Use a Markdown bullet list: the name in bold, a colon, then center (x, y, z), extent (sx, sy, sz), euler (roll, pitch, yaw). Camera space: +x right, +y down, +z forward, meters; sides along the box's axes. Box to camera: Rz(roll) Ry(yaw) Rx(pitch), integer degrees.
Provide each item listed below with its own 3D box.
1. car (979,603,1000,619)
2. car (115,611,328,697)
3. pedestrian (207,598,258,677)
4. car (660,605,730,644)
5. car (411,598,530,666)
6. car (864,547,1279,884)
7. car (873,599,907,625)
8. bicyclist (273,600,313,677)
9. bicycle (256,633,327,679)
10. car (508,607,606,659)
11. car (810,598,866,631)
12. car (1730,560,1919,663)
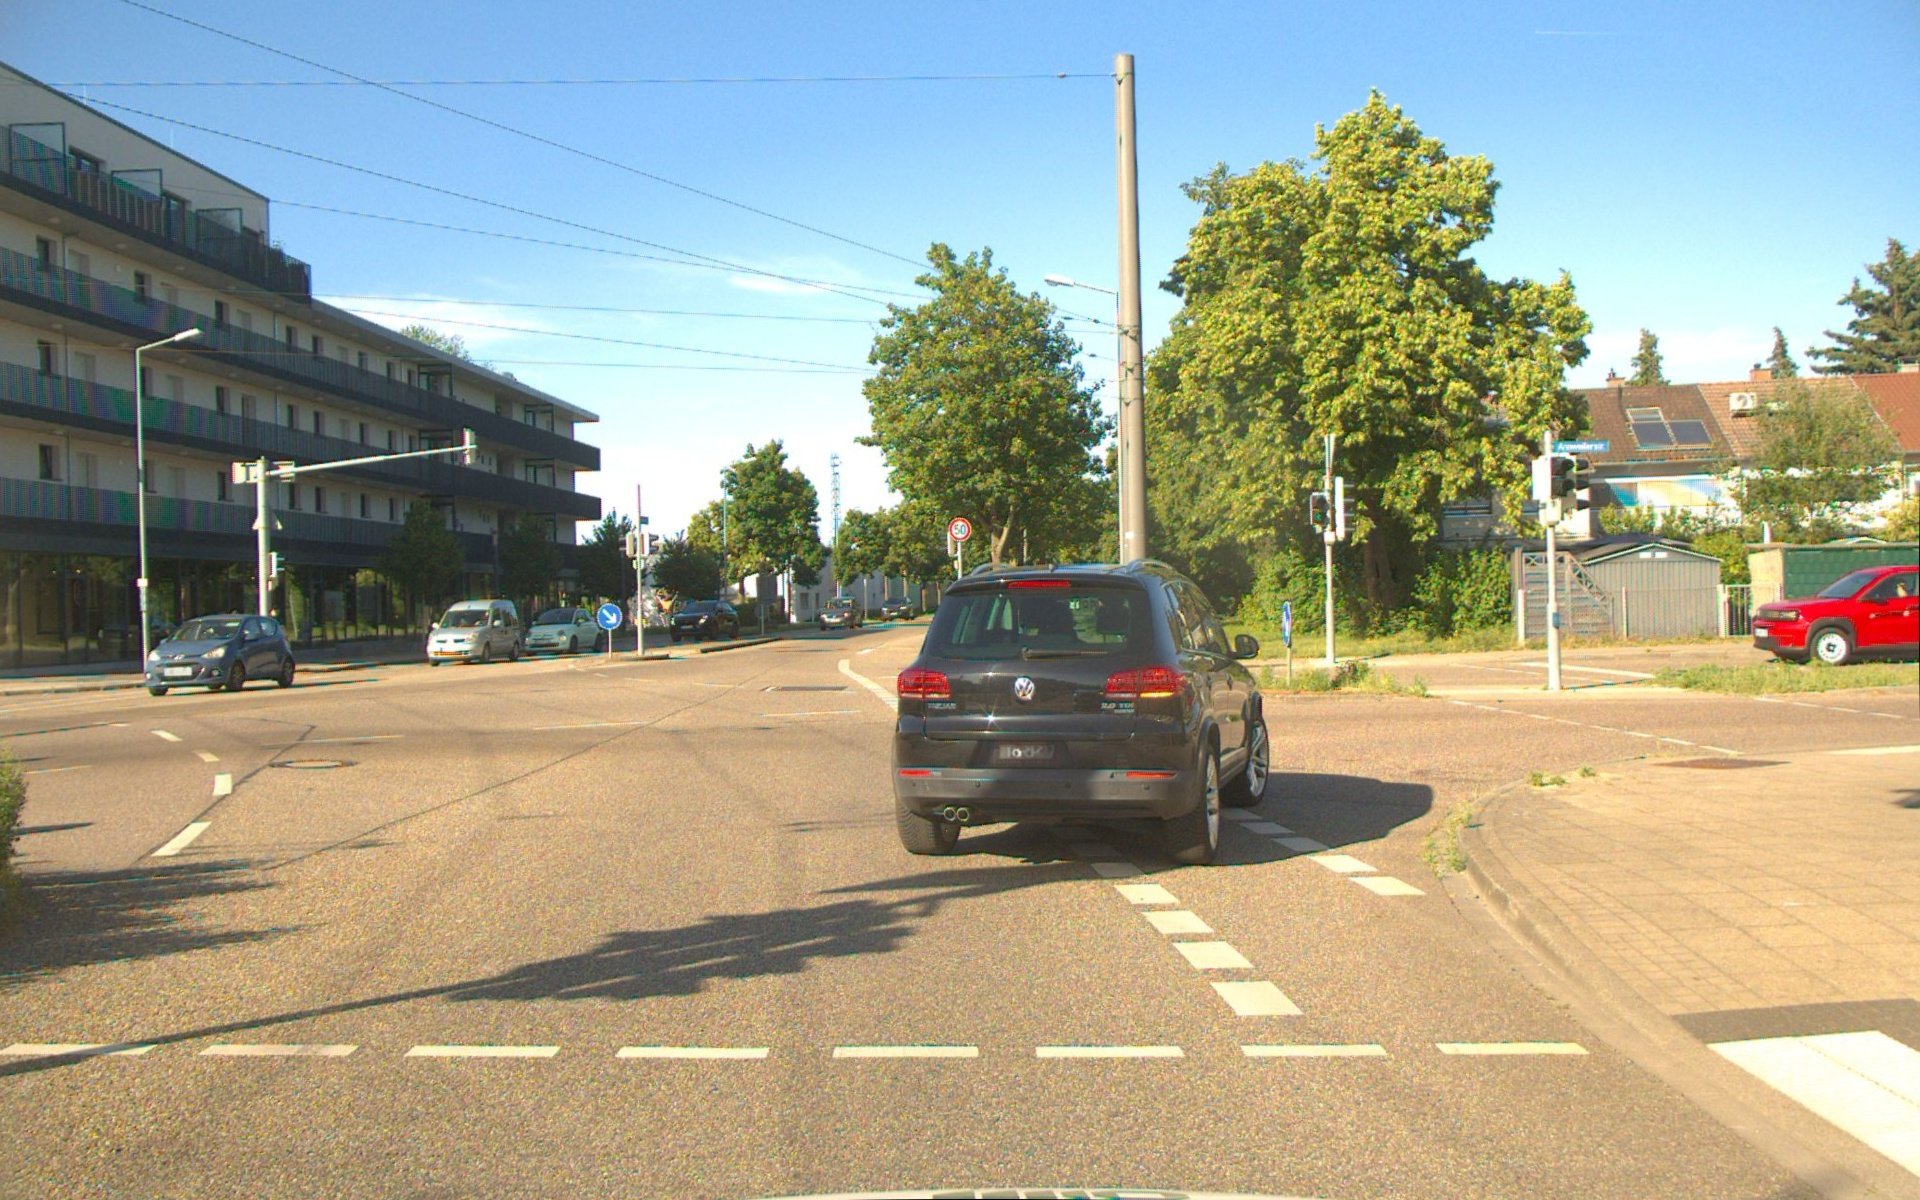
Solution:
- **car**: center (3.227, 1.213, 180.511), extent (1.855, 1.789, 4.003), euler (0, 0, 6)
- **car**: center (-14.457, 1.015, 32.692), extent (1.659, 1.482, 4.456), euler (-2, 0, 9)
- **pedestrian**: center (-19.229, 0.985, 43.751), extent (0.957, 2.049, 0.760), euler (-2, 0, -2)
- **car**: center (-11.171, 1.008, 70.021), extent (1.926, 1.561, 4.742), euler (-2, 0, 3)
- **car**: center (-13.835, 0.881, 46.993), extent (1.952, 1.786, 4.363), euler (-2, 0, 2)
- **car**: center (0.967, 0.565, 10.681), extent (1.888, 1.683, 4.518), euler (0, 0, 14)
- **car**: center (-5.078, 0.841, 120.515), extent (1.952, 1.768, 5.201), euler (-2, 0, 3)
- **bicyclist**: center (-18.049, 1.040, 44.786), extent (0.778, 2.049, 0.810), euler (-2, 0, -8)
- **bicycle**: center (-18.090, 1.506, 44.770), extent (1.607, 1.164, 0.743), euler (-2, 0, -8)
- **car**: center (-13.367, 1.059, 55.021), extent (1.951, 1.513, 3.547), euler (-4, 0, 7)
- **car**: center (-6.195, 0.714, 84.633), extent (1.951, 1.599, 4.003), euler (-2, 0, 9)
- **car**: center (15.399, 0.158, 27.723), extent (4.079, 1.616, 1.947), euler (-1, 0, 5)
